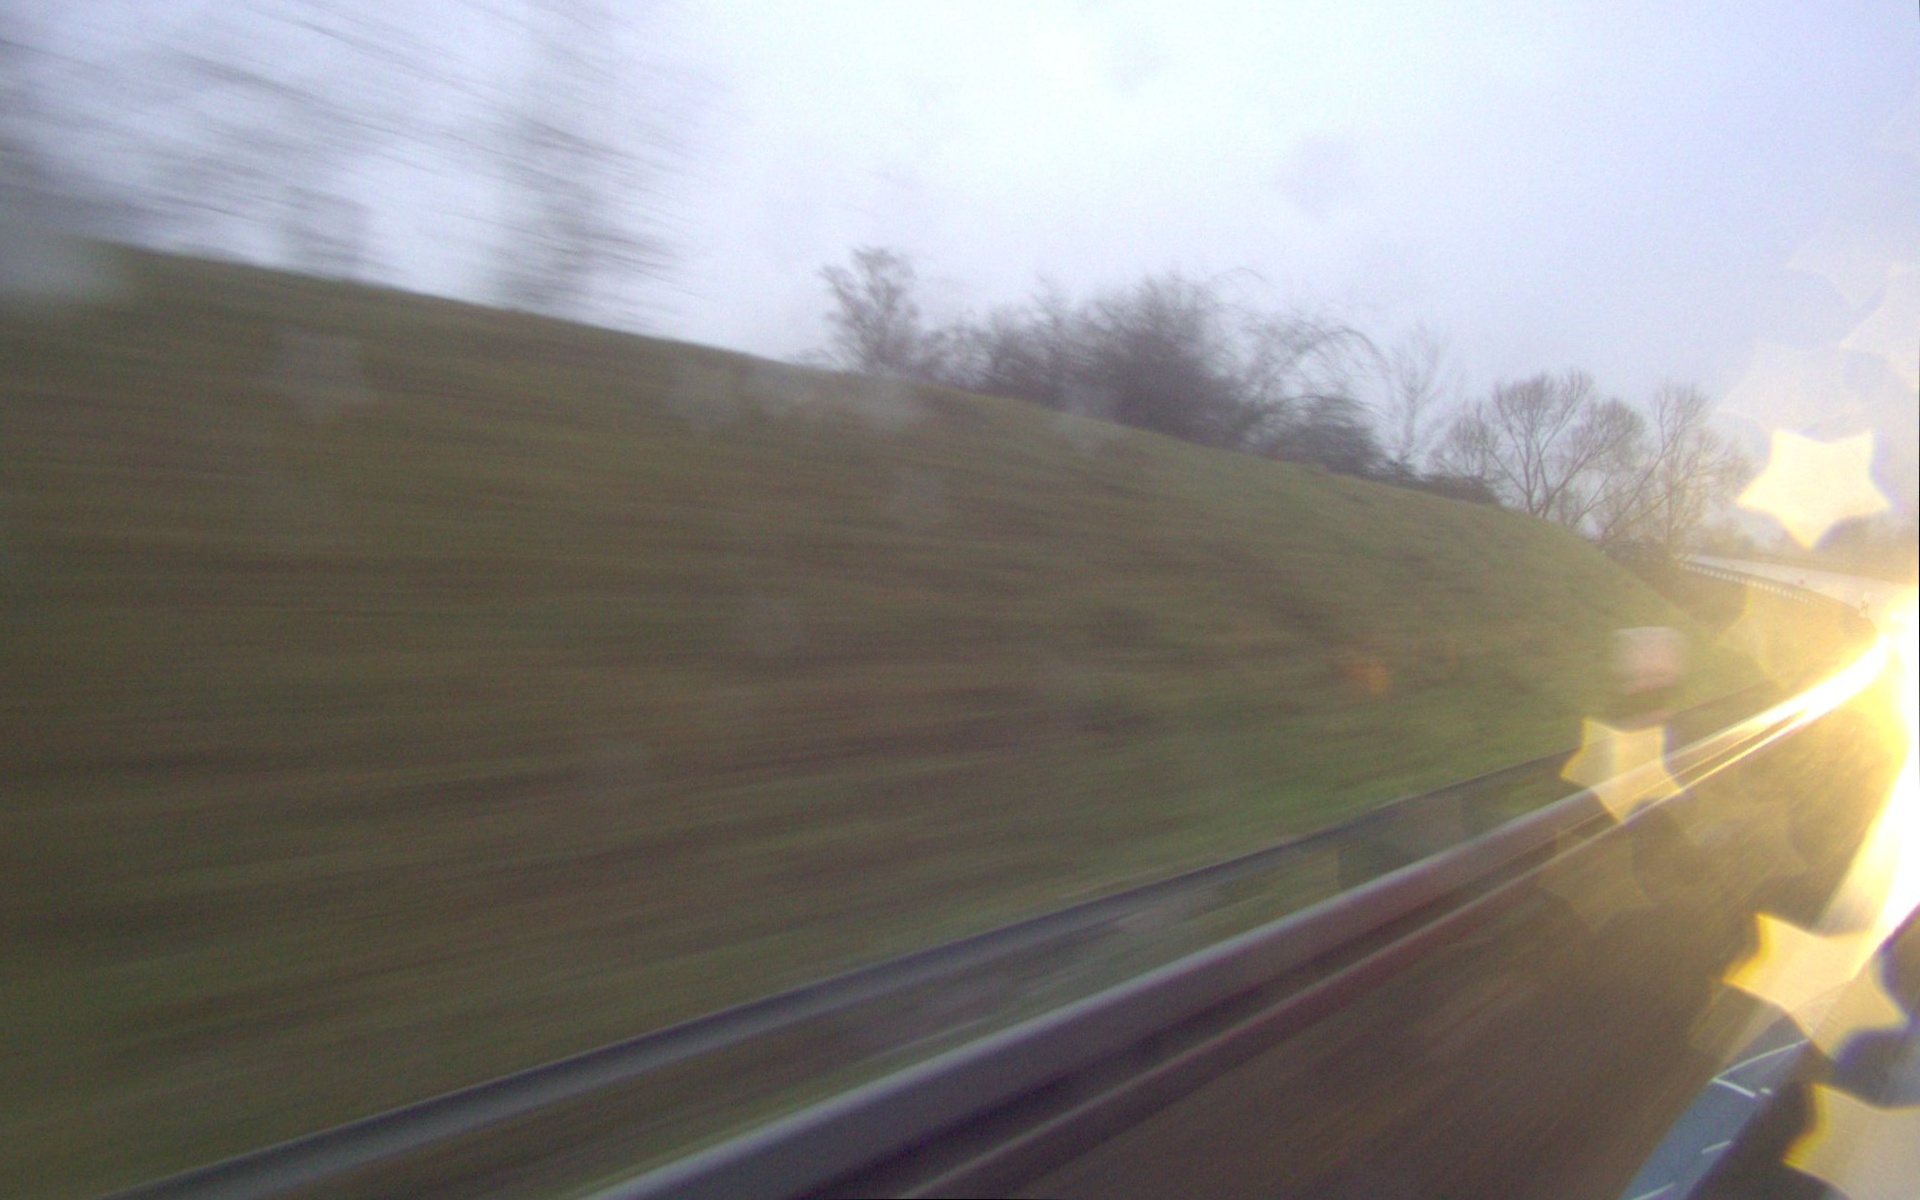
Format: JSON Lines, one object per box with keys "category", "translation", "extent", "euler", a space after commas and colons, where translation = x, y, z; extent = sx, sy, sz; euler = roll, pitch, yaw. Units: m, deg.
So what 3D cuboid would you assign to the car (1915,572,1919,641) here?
{"category": "car", "translation": [22.168, 0.234, 21.546], "extent": [2.093, 1.594, 4.735], "euler": [4, 3, 37]}
